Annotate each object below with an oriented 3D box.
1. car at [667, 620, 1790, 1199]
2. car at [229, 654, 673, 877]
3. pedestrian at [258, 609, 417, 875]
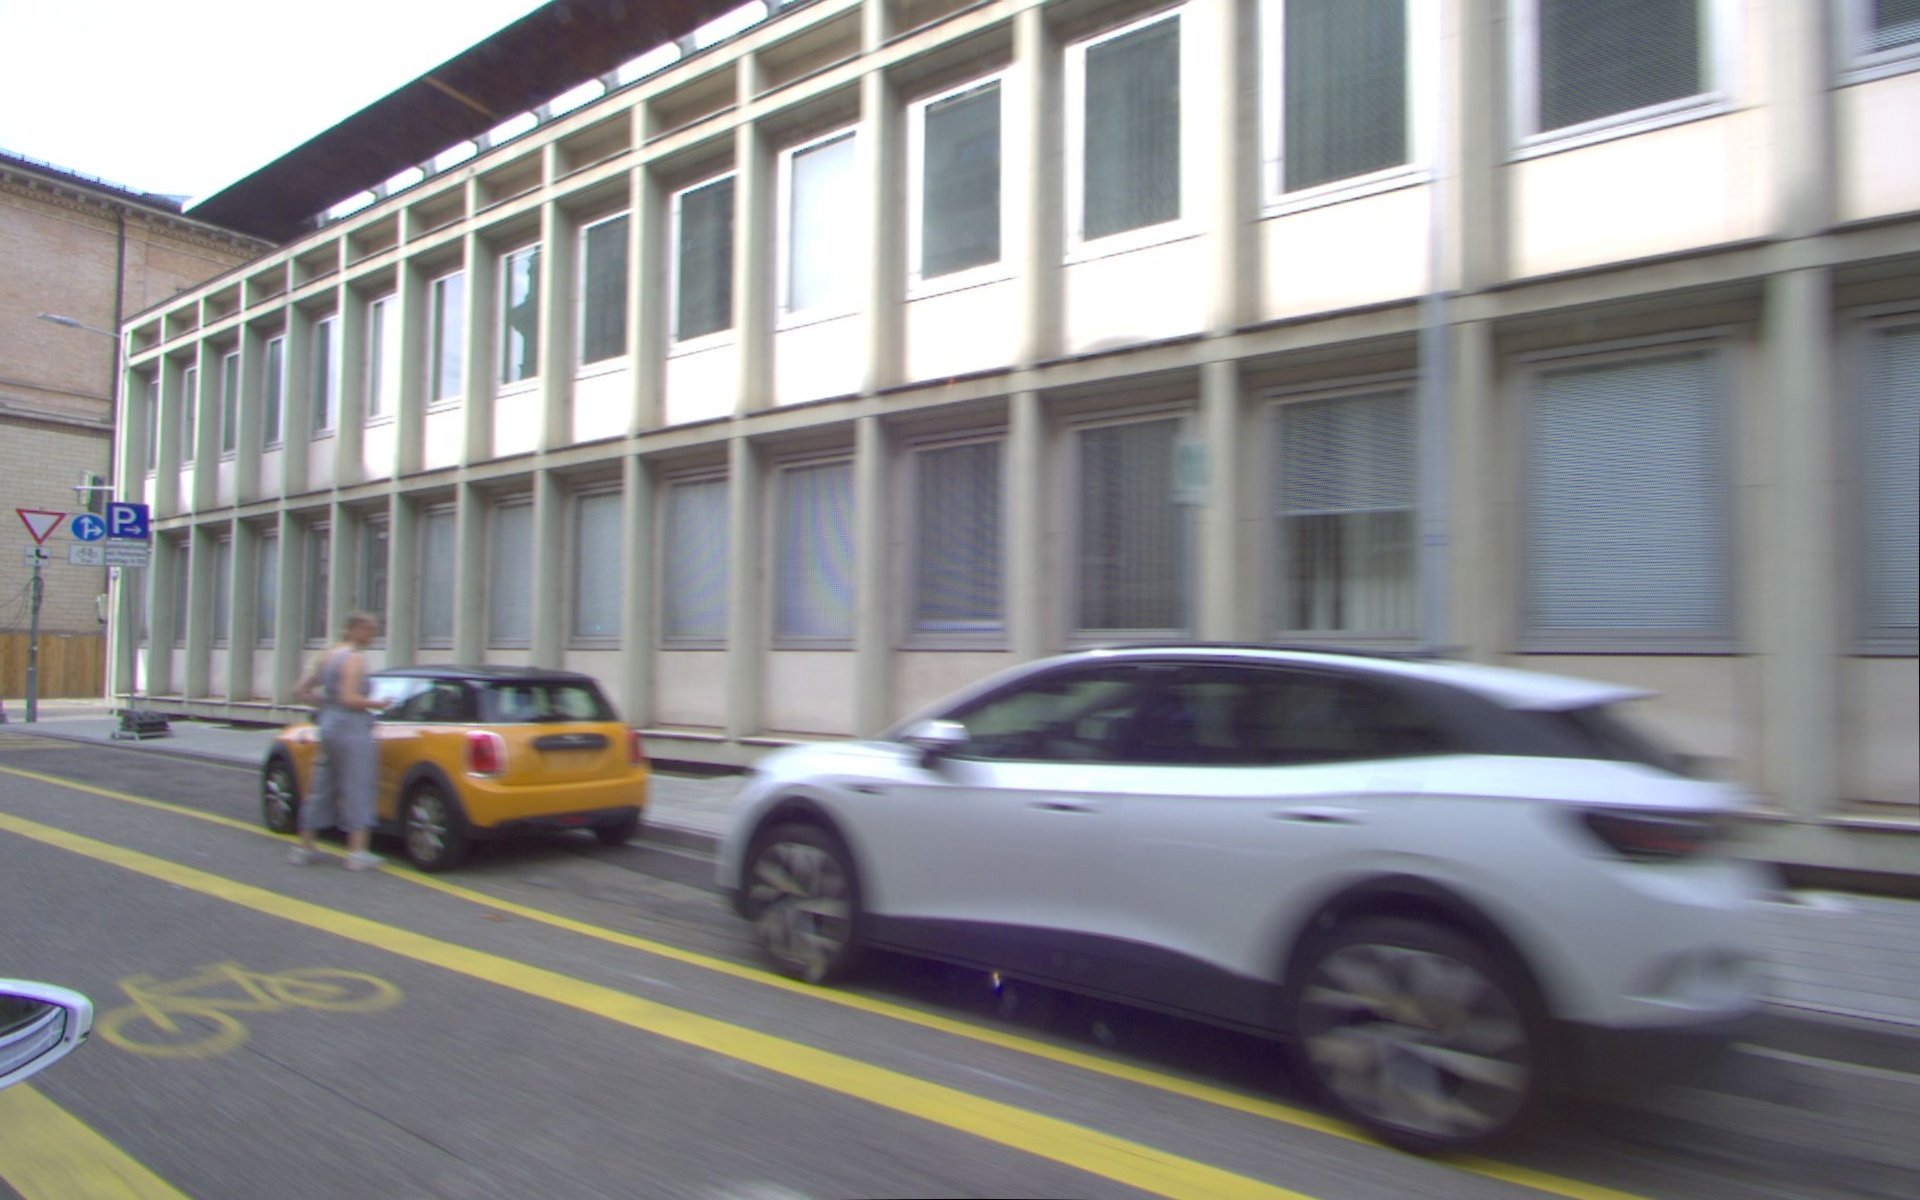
[{"bbox_3d":[0.858,1.023,4.665,4.453,1.623,1.858,-2,-7,35],"label":"car"},{"bbox_3d":[-4.369,1.238,8.431,3.835,1.451,1.678,-2,-7,35],"label":"car"},{"bbox_3d":[-4.488,0.980,7.236,0.695,1.785,0.697,-1,-3,30],"label":"pedestrian"}]
